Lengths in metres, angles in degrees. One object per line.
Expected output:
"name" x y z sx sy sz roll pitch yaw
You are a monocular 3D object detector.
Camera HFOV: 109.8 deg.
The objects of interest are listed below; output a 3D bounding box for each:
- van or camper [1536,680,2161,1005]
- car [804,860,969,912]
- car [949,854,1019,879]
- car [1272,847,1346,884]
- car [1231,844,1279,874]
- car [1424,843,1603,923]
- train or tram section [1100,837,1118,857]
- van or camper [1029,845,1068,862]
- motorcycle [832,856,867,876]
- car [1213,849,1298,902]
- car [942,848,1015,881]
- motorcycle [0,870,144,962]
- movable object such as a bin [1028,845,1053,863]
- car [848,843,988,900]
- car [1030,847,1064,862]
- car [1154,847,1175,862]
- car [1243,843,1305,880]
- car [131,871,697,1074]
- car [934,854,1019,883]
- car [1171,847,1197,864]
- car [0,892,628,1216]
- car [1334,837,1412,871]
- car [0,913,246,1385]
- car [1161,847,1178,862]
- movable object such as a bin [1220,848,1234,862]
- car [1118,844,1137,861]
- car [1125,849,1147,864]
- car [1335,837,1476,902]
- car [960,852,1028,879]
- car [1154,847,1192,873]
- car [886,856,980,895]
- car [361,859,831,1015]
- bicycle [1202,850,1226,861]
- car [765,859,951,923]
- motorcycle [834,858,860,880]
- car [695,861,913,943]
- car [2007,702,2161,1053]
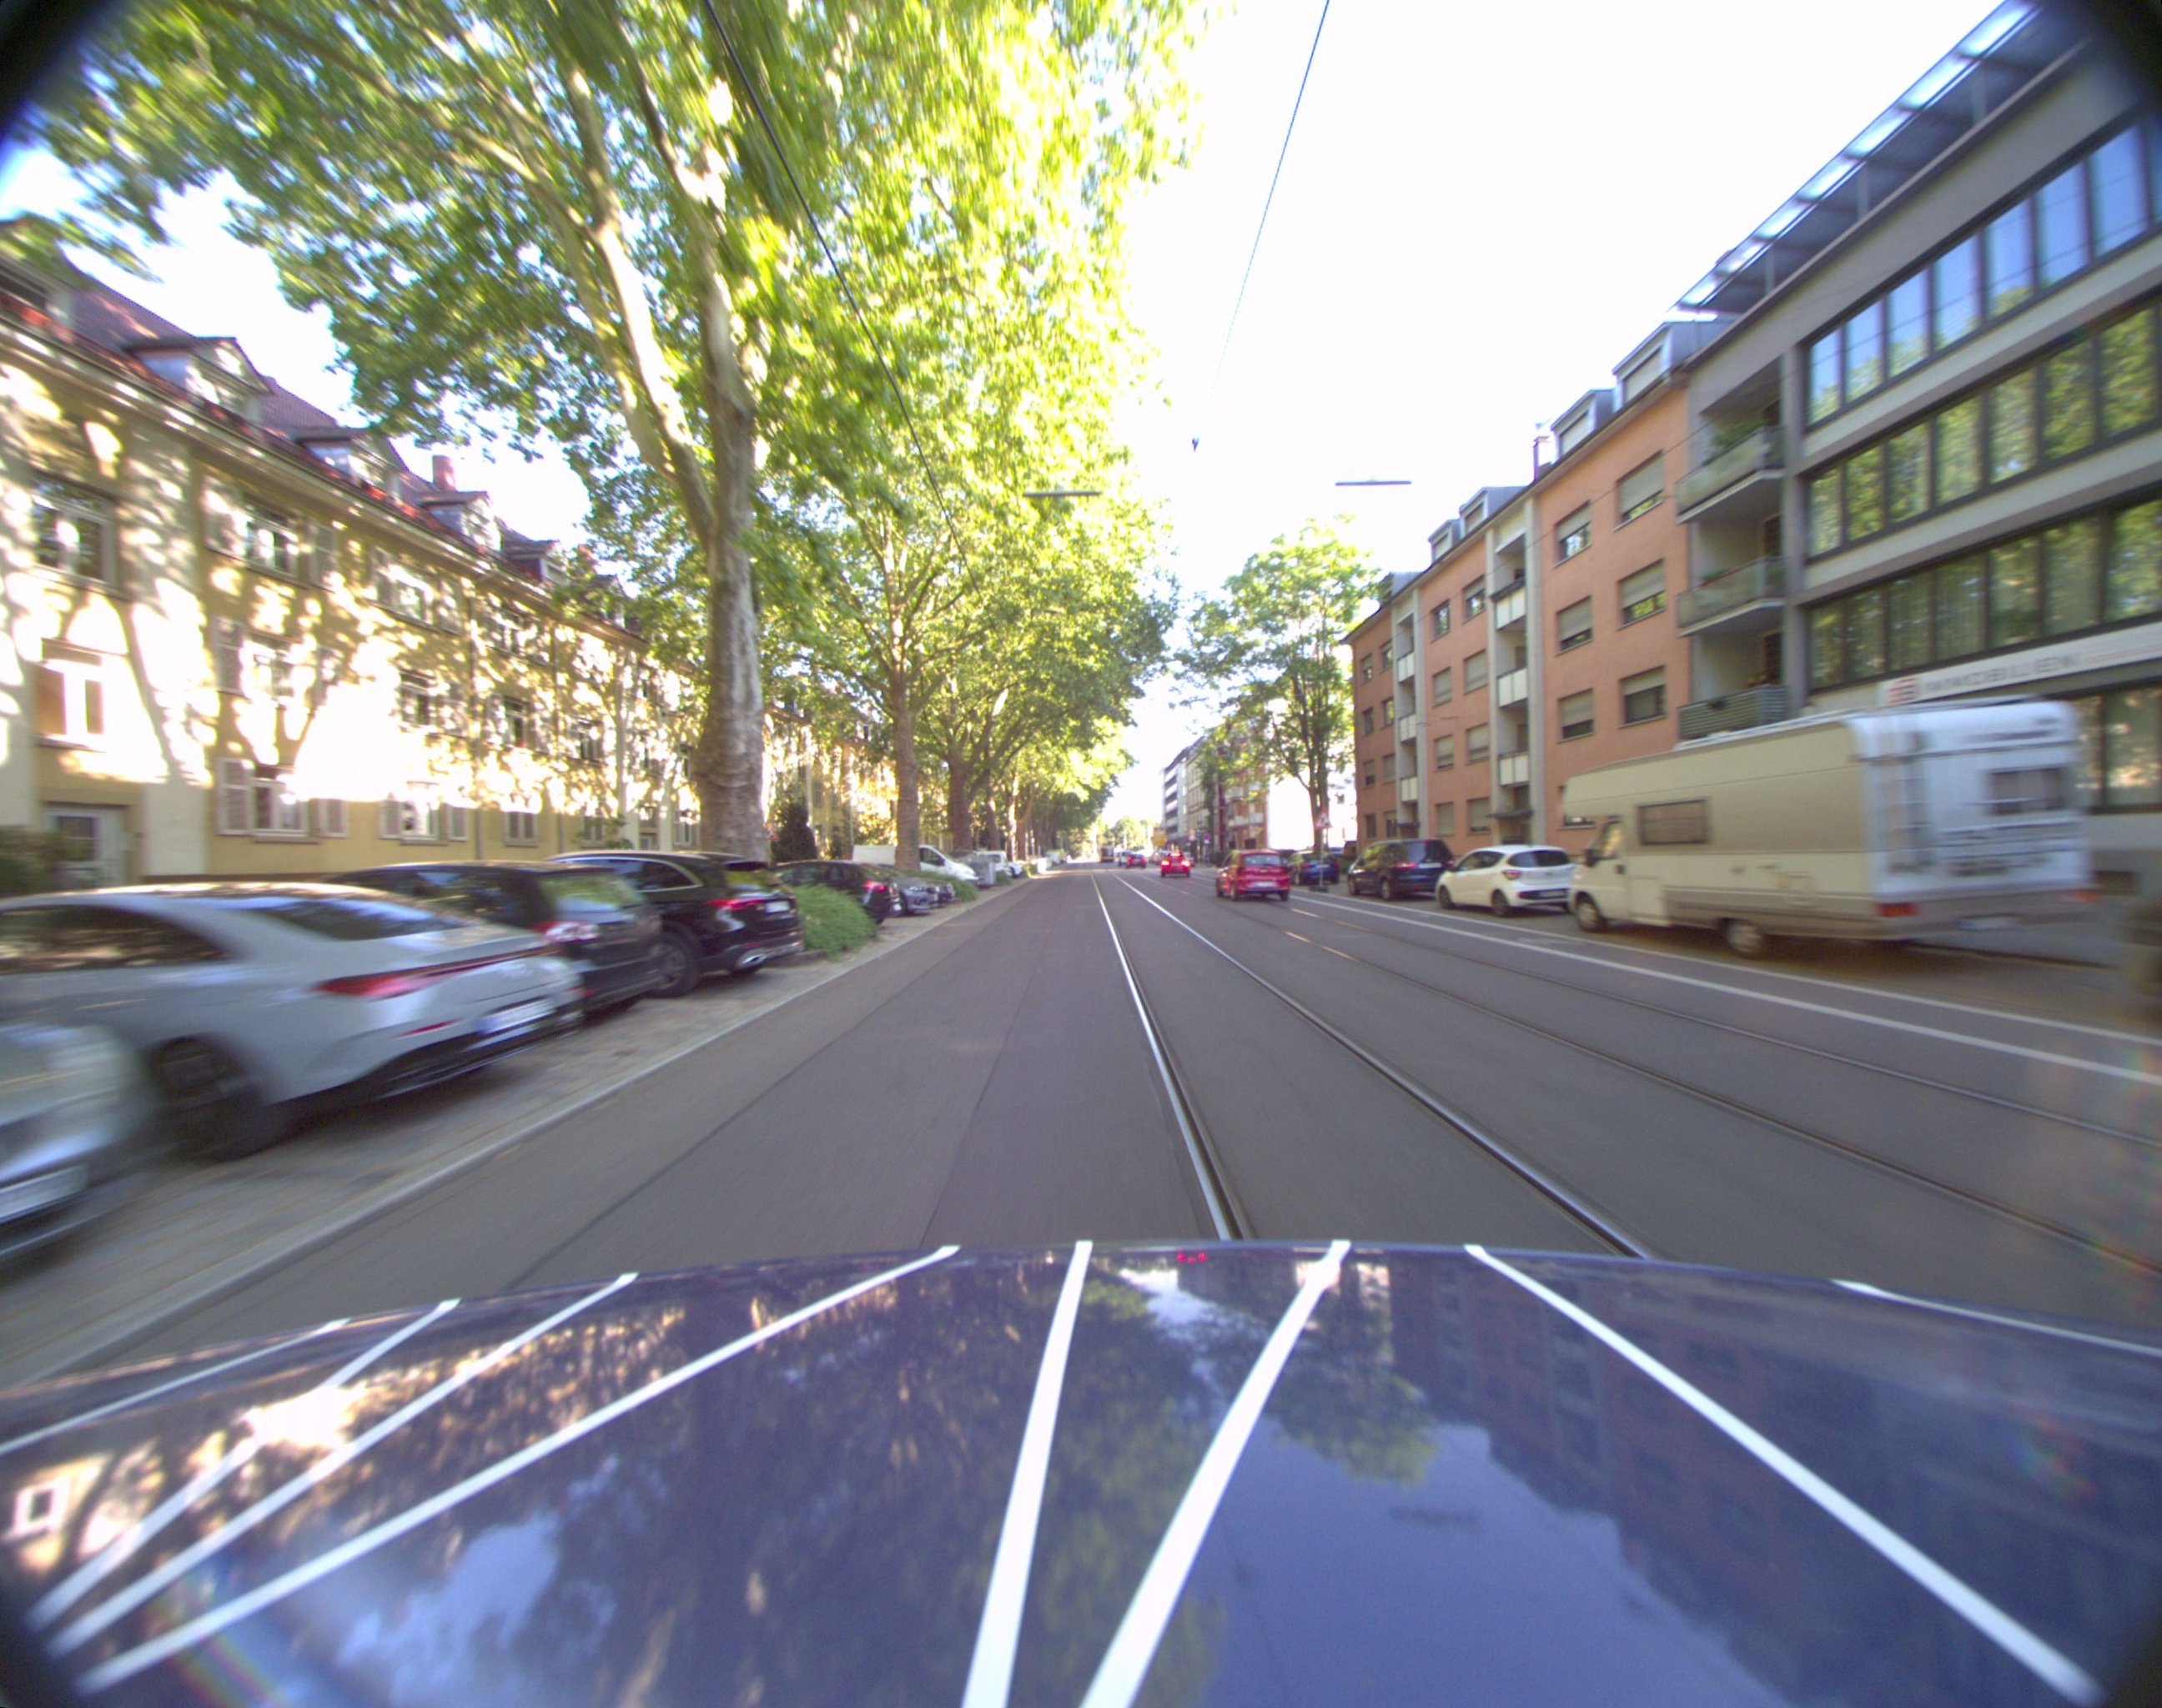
"van or camper" 9.509 -0.131 10.667 2.343 3.023 6.397 -4 0 1
"car" -5.731 0.940 22.726 4.406 1.372 1.804 -1 1 4
"car" -5.860 0.746 46.193 3.852 1.424 1.852 -1 1 4
"car" 9.661 0.444 32.605 1.742 1.393 4.382 -3 0 -1
"car" 9.830 0.248 43.194 1.811 1.469 4.089 -3 1 1
"car" 9.530 0.574 17.130 1.714 1.479 3.861 -4 0 -1
"train or tram section" 5.212 -1.287 143.671 2.916 3.466 14.197 -1 0 0
"van or camper" -5.089 -0.110 119.271 5.939 2.614 2.270 -1 2 2
"motorcycle" -14.829 0.775 48.728 1.995 1.243 0.713 -1 1 -1
"car" 5.187 0.583 23.081 1.667 1.470 3.950 -1 0 0
"car" -5.937 0.607 44.229 3.852 1.762 1.917 -1 1 4
"motorcycle" -16.161 0.968 12.026 1.808 1.353 0.622 2 1 -2
"movable object such as a bin" -5.284 -0.015 99.520 1.482 2.256 3.283 -1 1 34
"car" -6.062 0.623 28.735 4.849 1.952 2.064 -1 1 -2
"car" -4.884 0.100 109.686 4.847 2.001 2.063 -1 0 0
"car" 10.106 -0.006 92.186 1.957 1.639 4.880 -3 1 -1
"car" 9.521 0.325 37.819 1.786 1.601 4.587 -4 0 -1
"car" -5.883 0.992 7.052 3.687 1.538 1.777 -1 1 2
"car" -5.749 0.793 42.066 4.380 1.533 1.802 -1 0 4
"car" 9.653 0.127 71.311 1.729 1.474 3.929 -4 0 -1
"car" -5.563 1.060 4.687 4.306 1.430 1.947 -1 1 -1
"car" 19.608 0.006 51.262 2.003 2.111 4.712 -3 1 -28
"car" -5.669 1.053 2.352 4.152 1.500 1.796 -1 1 1
"car" 10.077 0.087 86.726 1.630 1.563 3.781 -3 1 2
"movable object such as a bin" 13.768 0.098 71.627 1.214 1.357 0.747 -1 1 2
"car" 5.407 -0.187 88.796 1.896 1.821 4.895 -1 0 0
"car" 5.198 0.208 72.077 1.780 1.449 4.202 0 0 0
"car" 9.502 0.403 22.809 1.957 1.676 5.070 -2 0 -1
"car" -5.485 0.722 48.510 4.098 1.512 1.916 -1 1 -1
"car" 5.439 0.338 45.171 1.727 1.428 4.068 -2 0 0
"car" -6.056 0.865 31.330 3.536 1.438 1.672 -1 1 -2
"car" -5.664 0.896 9.292 4.506 1.593 2.028 1 1 4
"bicycle" 14.919 0.146 85.325 2.457 1.056 0.699 -3 1 -3
"car" -5.711 0.932 19.835 4.258 1.475 1.897 -1 1 0
"motorcycle" -13.128 0.840 42.644 0.717 1.146 2.264 0 1 0
"car" -5.619 0.950 15.737 3.848 1.501 1.710 -1 1 0
"car" 9.369 0.125 4.106 2.092 2.716 5.308 -4 0 -1
